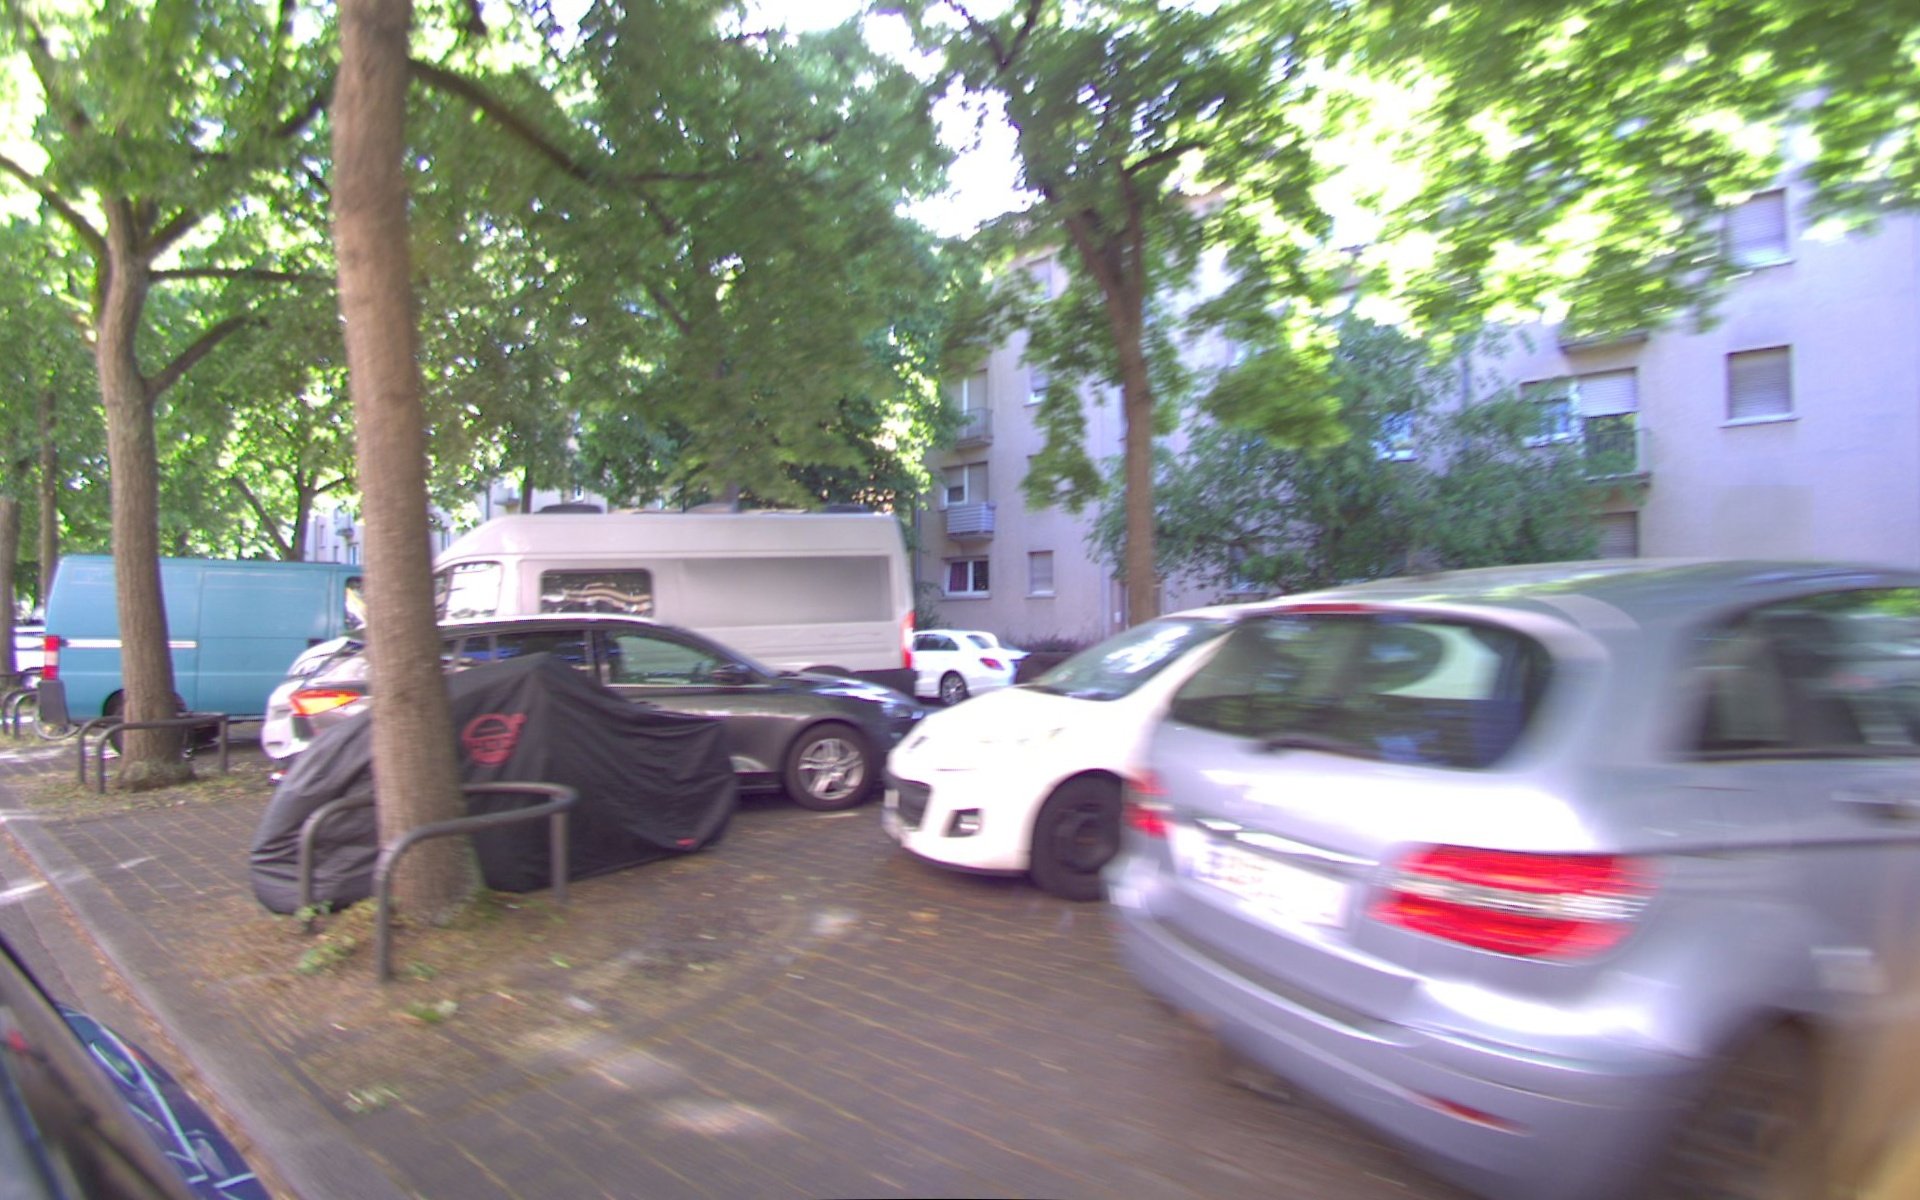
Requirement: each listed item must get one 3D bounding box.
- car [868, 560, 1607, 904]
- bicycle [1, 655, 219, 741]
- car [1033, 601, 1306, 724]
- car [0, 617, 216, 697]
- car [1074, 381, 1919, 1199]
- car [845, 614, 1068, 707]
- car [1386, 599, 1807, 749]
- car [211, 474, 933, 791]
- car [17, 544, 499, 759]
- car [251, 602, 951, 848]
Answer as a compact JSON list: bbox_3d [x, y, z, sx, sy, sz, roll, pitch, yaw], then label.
[{"bbox_3d":[1.468,0.619,5.868,3.761,1.556,1.686,0,-2,-14],"label":"car"},{"bbox_3d":[-10.980,1.236,13.156,2.119,0.977,0.609,1,-2,-42],"label":"bicycle"},{"bbox_3d":[3.242,0.951,16.100,3.937,1.711,1.696,-2,-4,41],"label":"car"},{"bbox_3d":[-17.325,1.113,20.504,3.218,1.427,1.753,-1,0,-17],"label":"car"},{"bbox_3d":[2.529,0.508,3.130,3.930,1.629,1.803,0,-2,-23],"label":"car"},{"bbox_3d":[-0.131,1.102,19.497,3.998,1.597,1.973,-2,-2,41],"label":"car"},{"bbox_3d":[7.523,0.792,12.161,3.999,1.497,1.972,-2,-2,42],"label":"car"},{"bbox_3d":[-3.511,0.295,10.181,6.095,2.530,2.145,0,-2,-21],"label":"car"},{"bbox_3d":[-7.847,0.547,11.874,4.322,2.184,1.776,0,-2,-21],"label":"car"},{"bbox_3d":[-2.461,0.785,7.674,4.447,1.494,1.743,0,-2,-18],"label":"car"}]
